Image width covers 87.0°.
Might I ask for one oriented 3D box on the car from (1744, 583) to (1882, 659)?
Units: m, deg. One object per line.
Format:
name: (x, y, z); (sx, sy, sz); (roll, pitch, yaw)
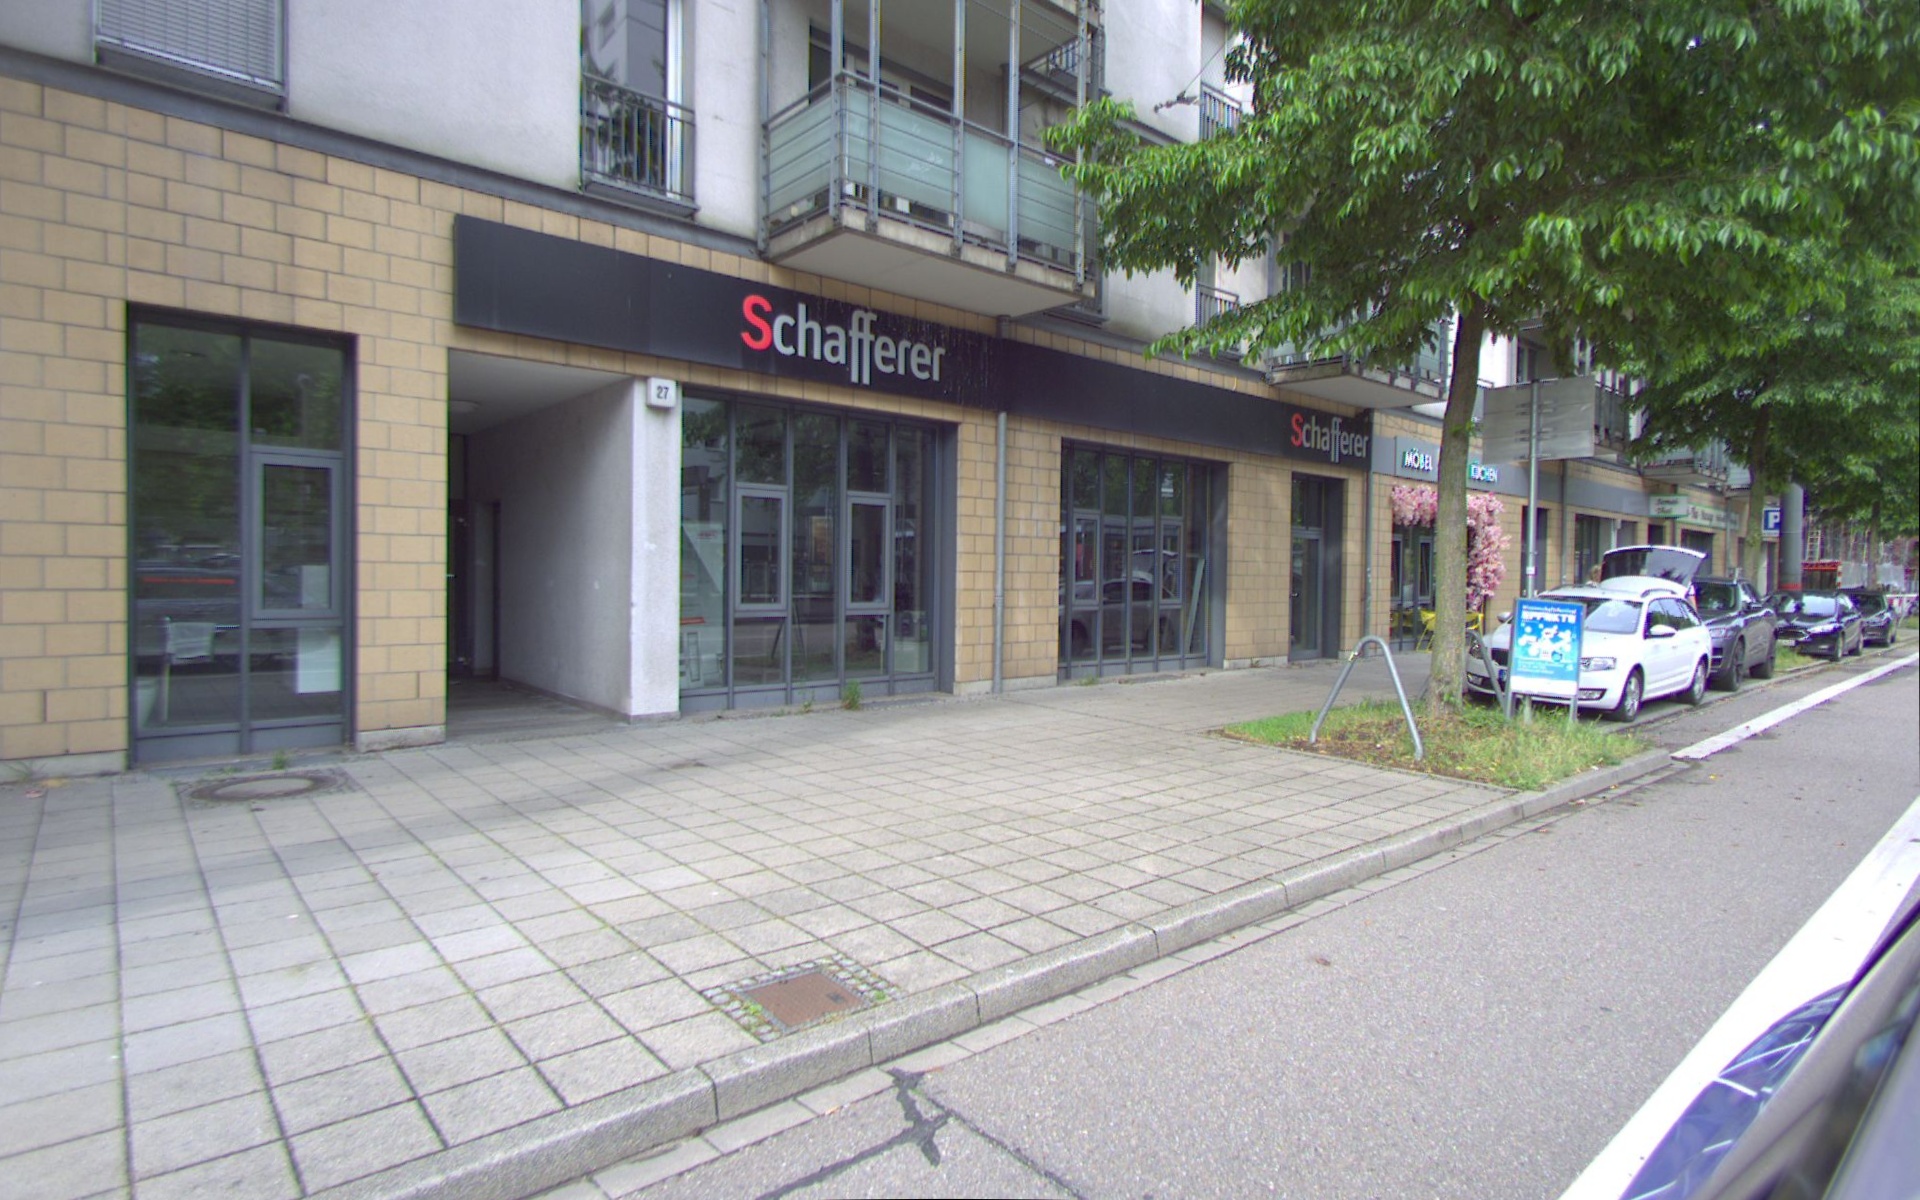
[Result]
car: (18.619, 0.387, 22.040); (4.095, 1.394, 1.612); (-1, 5, -41)

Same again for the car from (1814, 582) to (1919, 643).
car: (24.140, 0.288, 26.866); (3.603, 1.417, 1.612); (-1, 5, -41)

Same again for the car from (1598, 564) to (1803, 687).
car: (11.779, 0.318, 16.023); (3.732, 1.630, 1.738); (-1, 5, -41)

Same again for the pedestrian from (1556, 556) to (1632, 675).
pedestrian: (9.519, 0.212, 15.205); (0.606, 1.738, 0.739); (0, 2, -34)

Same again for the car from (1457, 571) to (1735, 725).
car: (8.107, 0.474, 12.750); (4.233, 1.539, 1.738); (-1, 5, -41)

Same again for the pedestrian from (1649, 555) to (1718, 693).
pedestrian: (10.301, 0.321, 14.405); (0.588, 1.907, 0.656); (0, 1, -41)
